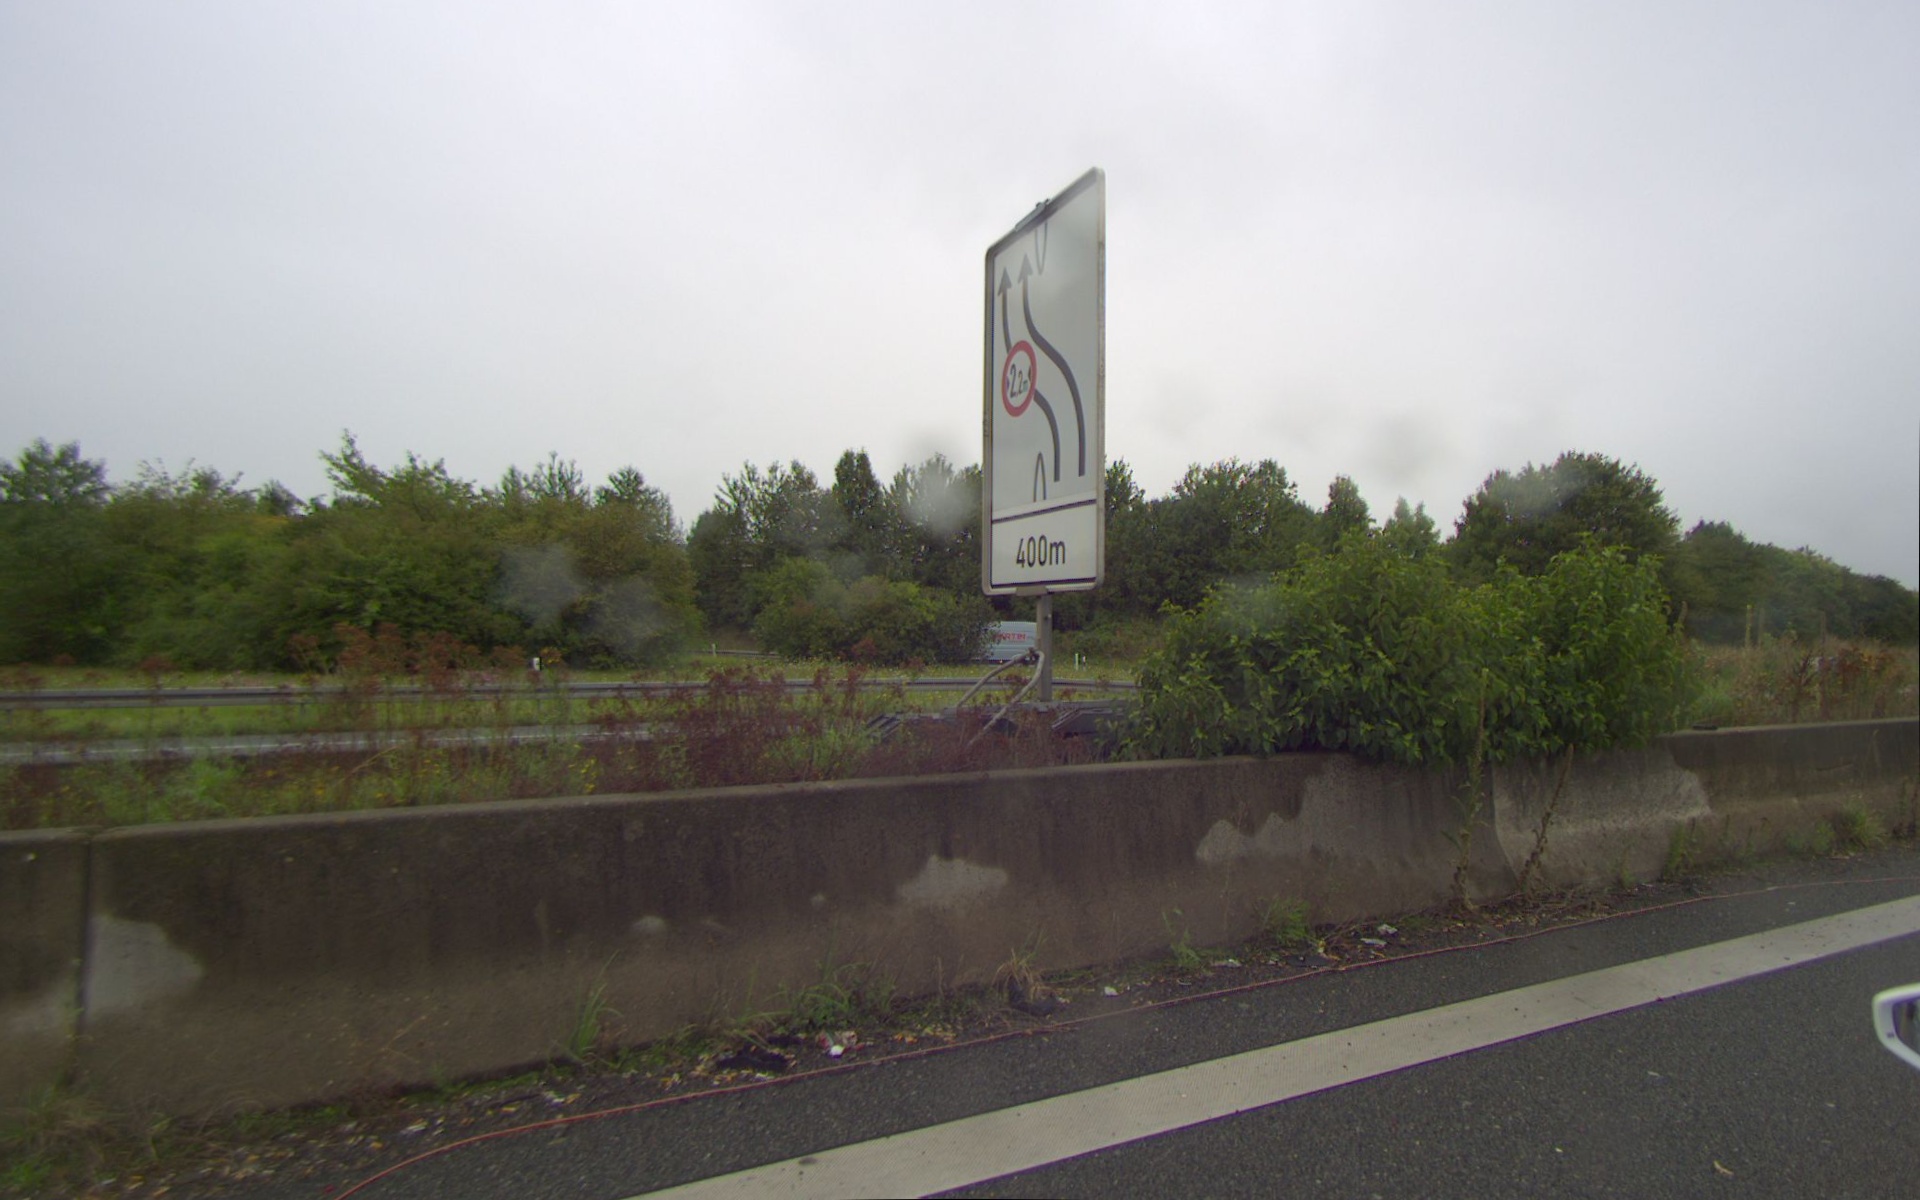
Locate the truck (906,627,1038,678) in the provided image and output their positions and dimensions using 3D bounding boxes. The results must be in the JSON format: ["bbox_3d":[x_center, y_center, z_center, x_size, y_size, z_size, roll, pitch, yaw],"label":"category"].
[{"bbox_3d":[0.622,2.597,50.307,6.303,2.460,2.001,0,-2,13],"label":"truck"}]
